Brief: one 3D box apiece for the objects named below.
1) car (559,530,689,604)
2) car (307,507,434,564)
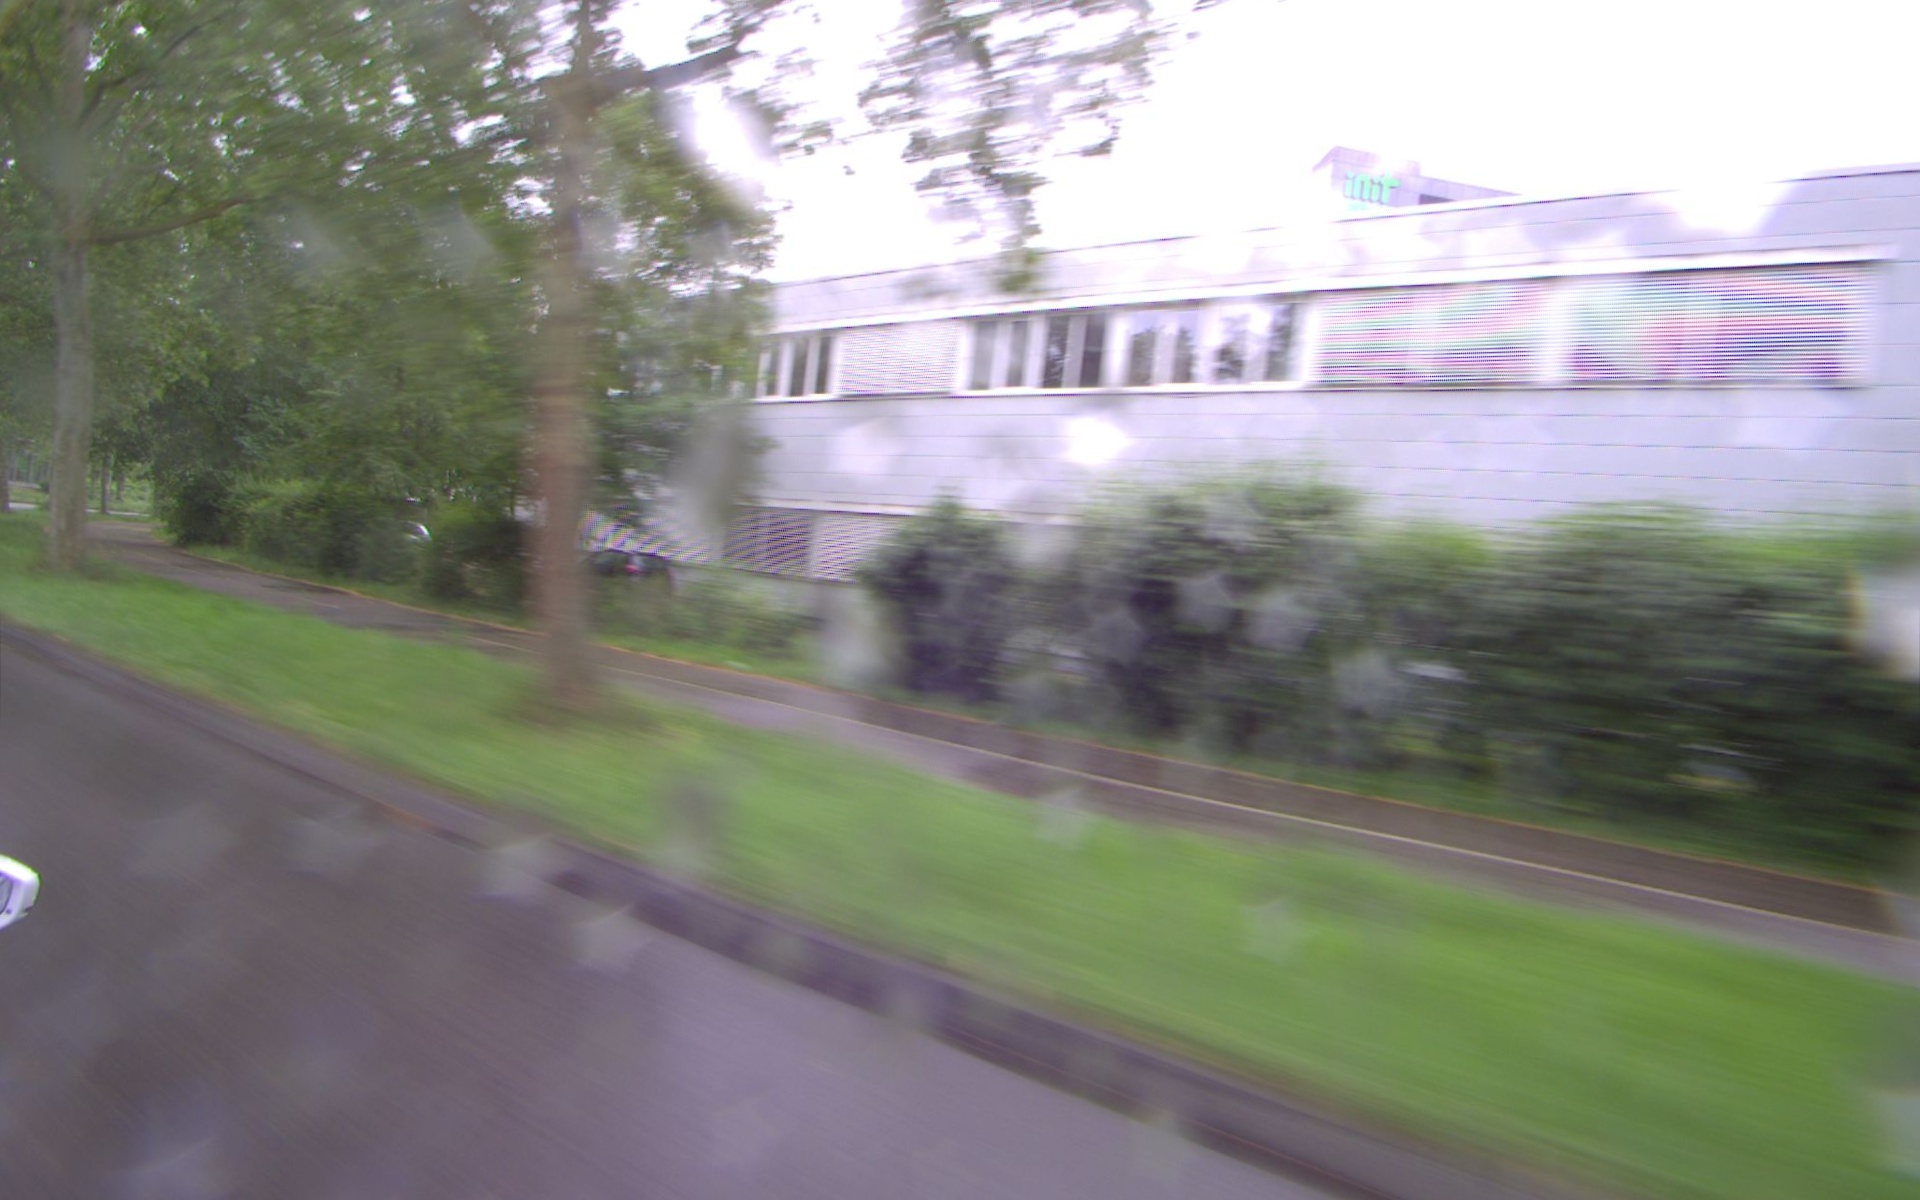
[{"bbox_3d":[-10.320,-1.026,30.756,4.096,1.601,1.762,10,1,40],"label":"car"},{"bbox_3d":[-24.220,-2.612,41.432,1.895,1.671,3.990,7,-1,35],"label":"car"}]
